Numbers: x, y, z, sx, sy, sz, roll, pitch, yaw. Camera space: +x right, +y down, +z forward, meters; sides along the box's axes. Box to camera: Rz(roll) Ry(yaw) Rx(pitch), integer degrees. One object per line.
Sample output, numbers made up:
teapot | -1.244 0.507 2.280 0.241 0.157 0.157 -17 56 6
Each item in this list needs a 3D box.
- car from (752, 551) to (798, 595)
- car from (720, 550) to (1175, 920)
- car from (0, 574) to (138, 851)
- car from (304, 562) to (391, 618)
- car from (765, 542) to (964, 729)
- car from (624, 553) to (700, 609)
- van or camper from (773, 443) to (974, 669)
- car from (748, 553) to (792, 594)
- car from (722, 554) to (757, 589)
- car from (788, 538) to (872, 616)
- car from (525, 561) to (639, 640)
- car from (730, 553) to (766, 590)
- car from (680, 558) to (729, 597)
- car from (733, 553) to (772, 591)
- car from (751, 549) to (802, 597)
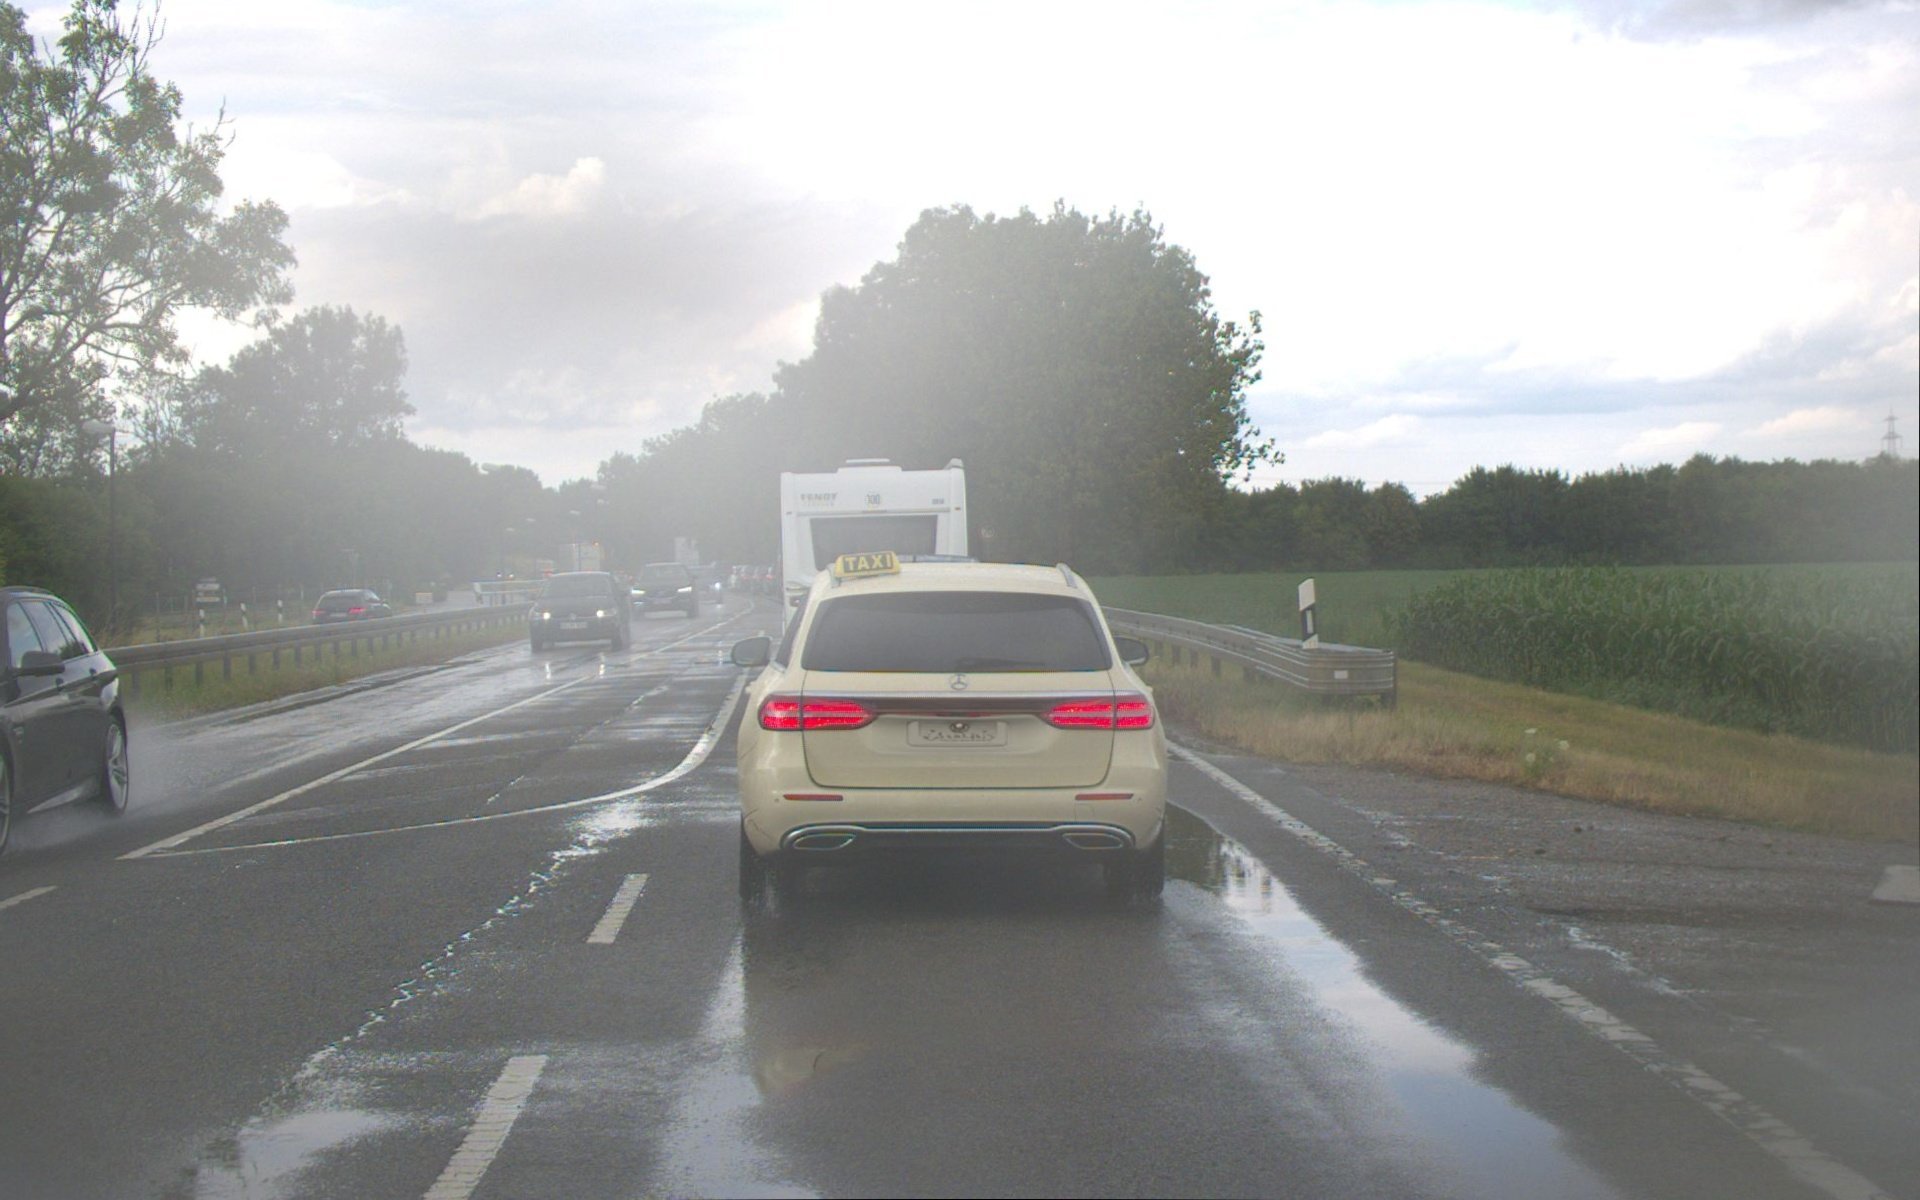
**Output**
car | -8.735 -1.261 162.077 1.993 2.007 4.001 -1 1 -5
car | -0.079 0.514 15.873 1.825 1.480 4.145 0 1 -1
car | -6.005 0.627 19.355 1.765 1.433 4.414 -3 1 -2
car | -18.987 -0.324 106.739 1.993 1.645 4.000 -2 1 -1
car | -0.867 0.265 30.777 1.627 1.524 3.933 -1 1 -2
car | -8.816 -0.580 101.994 1.944 1.575 4.443 -1 1 -1
van or camper | -1.135 -0.588 44.214 2.350 2.671 5.769 -1 1 -2
car | -9.568 -1.334 172.908 1.993 2.007 4.001 -1 1 -6
car | -13.111 -1.679 203.837 1.993 2.007 4.001 -1 1 -4
car | -3.852 -0.694 100.957 2.246 2.191 5.413 -1 1 -4
car | -7.242 -0.009 66.183 1.712 1.401 3.814 -2 1 0
car | -12.042 -1.608 195.455 1.993 2.044 4.001 -1 1 -3
car | -10.676 -0.964 143.761 1.769 1.518 4.141 -3 1 -1
car | -11.346 -1.535 188.109 1.993 2.007 4.000 -1 1 -2
car | -7.766 -1.150 145.411 1.993 2.007 4.001 -1 1 -5
